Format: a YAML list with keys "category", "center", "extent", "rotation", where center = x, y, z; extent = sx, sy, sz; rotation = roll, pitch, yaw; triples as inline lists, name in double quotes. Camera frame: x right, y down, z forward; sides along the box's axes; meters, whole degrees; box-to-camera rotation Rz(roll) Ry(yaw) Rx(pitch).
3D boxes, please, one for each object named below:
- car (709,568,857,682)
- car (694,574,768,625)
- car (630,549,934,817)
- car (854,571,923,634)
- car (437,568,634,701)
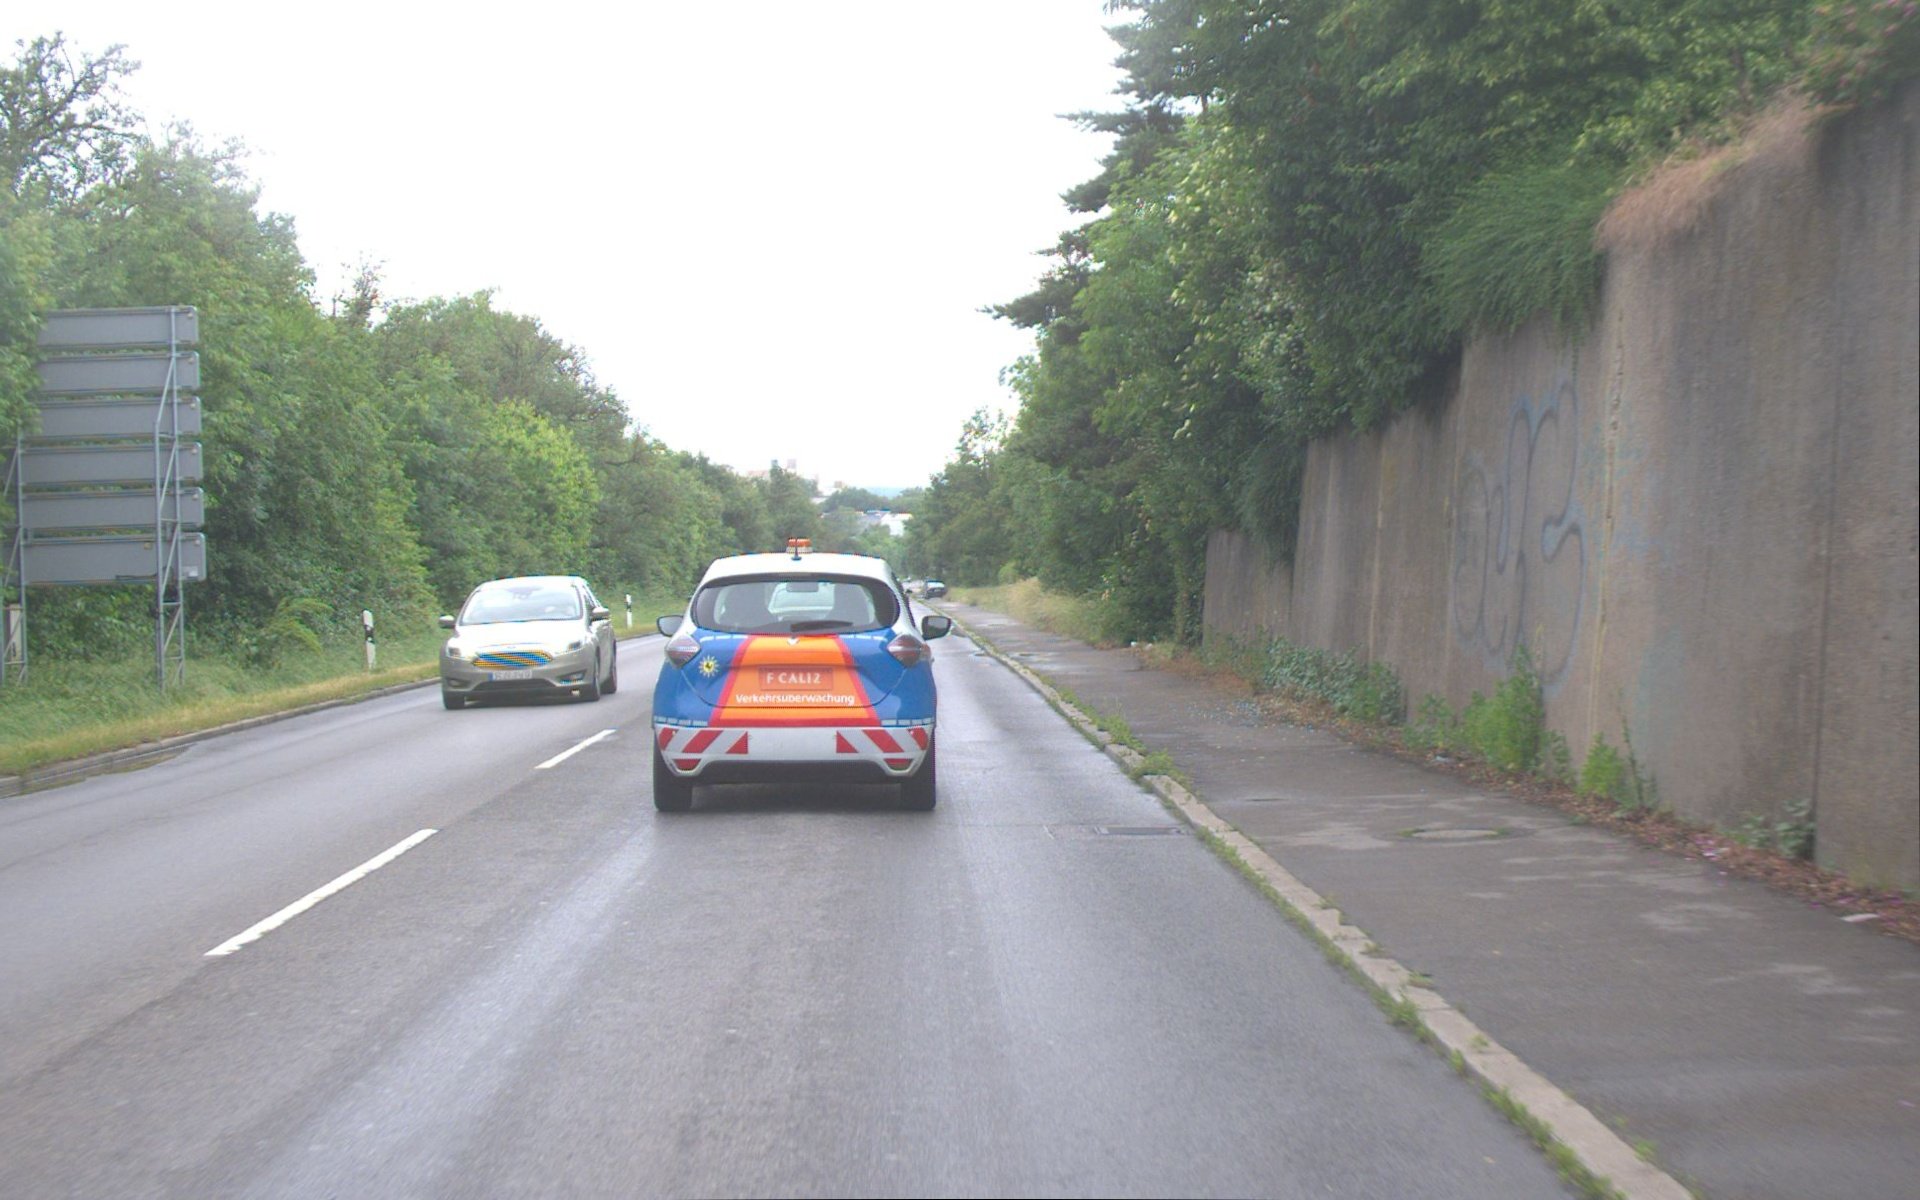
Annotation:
- category: "car"
  center: [-2.103, 0.288, 41.520]
  extent: [1.598, 1.282, 3.476]
  rotation: [-1, 0, 0]
- category: "car"
  center: [-6.252, -0.029, 94.249]
  extent: [1.891, 1.350, 4.382]
  rotation: [0, 0, -2]
- category: "car"
  center: [-1.075, 0.456, 21.894]
  extent: [1.752, 1.550, 3.793]
  rotation: [1, 1, -1]
- category: "car"
  center: [-1.991, 0.051, 94.706]
  extent: [1.772, 1.619, 4.000]
  rotation: [-2, 1, -2]
- category: "car"
  center: [-4.952, 0.366, 40.584]
  extent: [1.825, 1.415, 4.320]
  rotation: [-1, 1, -1]
